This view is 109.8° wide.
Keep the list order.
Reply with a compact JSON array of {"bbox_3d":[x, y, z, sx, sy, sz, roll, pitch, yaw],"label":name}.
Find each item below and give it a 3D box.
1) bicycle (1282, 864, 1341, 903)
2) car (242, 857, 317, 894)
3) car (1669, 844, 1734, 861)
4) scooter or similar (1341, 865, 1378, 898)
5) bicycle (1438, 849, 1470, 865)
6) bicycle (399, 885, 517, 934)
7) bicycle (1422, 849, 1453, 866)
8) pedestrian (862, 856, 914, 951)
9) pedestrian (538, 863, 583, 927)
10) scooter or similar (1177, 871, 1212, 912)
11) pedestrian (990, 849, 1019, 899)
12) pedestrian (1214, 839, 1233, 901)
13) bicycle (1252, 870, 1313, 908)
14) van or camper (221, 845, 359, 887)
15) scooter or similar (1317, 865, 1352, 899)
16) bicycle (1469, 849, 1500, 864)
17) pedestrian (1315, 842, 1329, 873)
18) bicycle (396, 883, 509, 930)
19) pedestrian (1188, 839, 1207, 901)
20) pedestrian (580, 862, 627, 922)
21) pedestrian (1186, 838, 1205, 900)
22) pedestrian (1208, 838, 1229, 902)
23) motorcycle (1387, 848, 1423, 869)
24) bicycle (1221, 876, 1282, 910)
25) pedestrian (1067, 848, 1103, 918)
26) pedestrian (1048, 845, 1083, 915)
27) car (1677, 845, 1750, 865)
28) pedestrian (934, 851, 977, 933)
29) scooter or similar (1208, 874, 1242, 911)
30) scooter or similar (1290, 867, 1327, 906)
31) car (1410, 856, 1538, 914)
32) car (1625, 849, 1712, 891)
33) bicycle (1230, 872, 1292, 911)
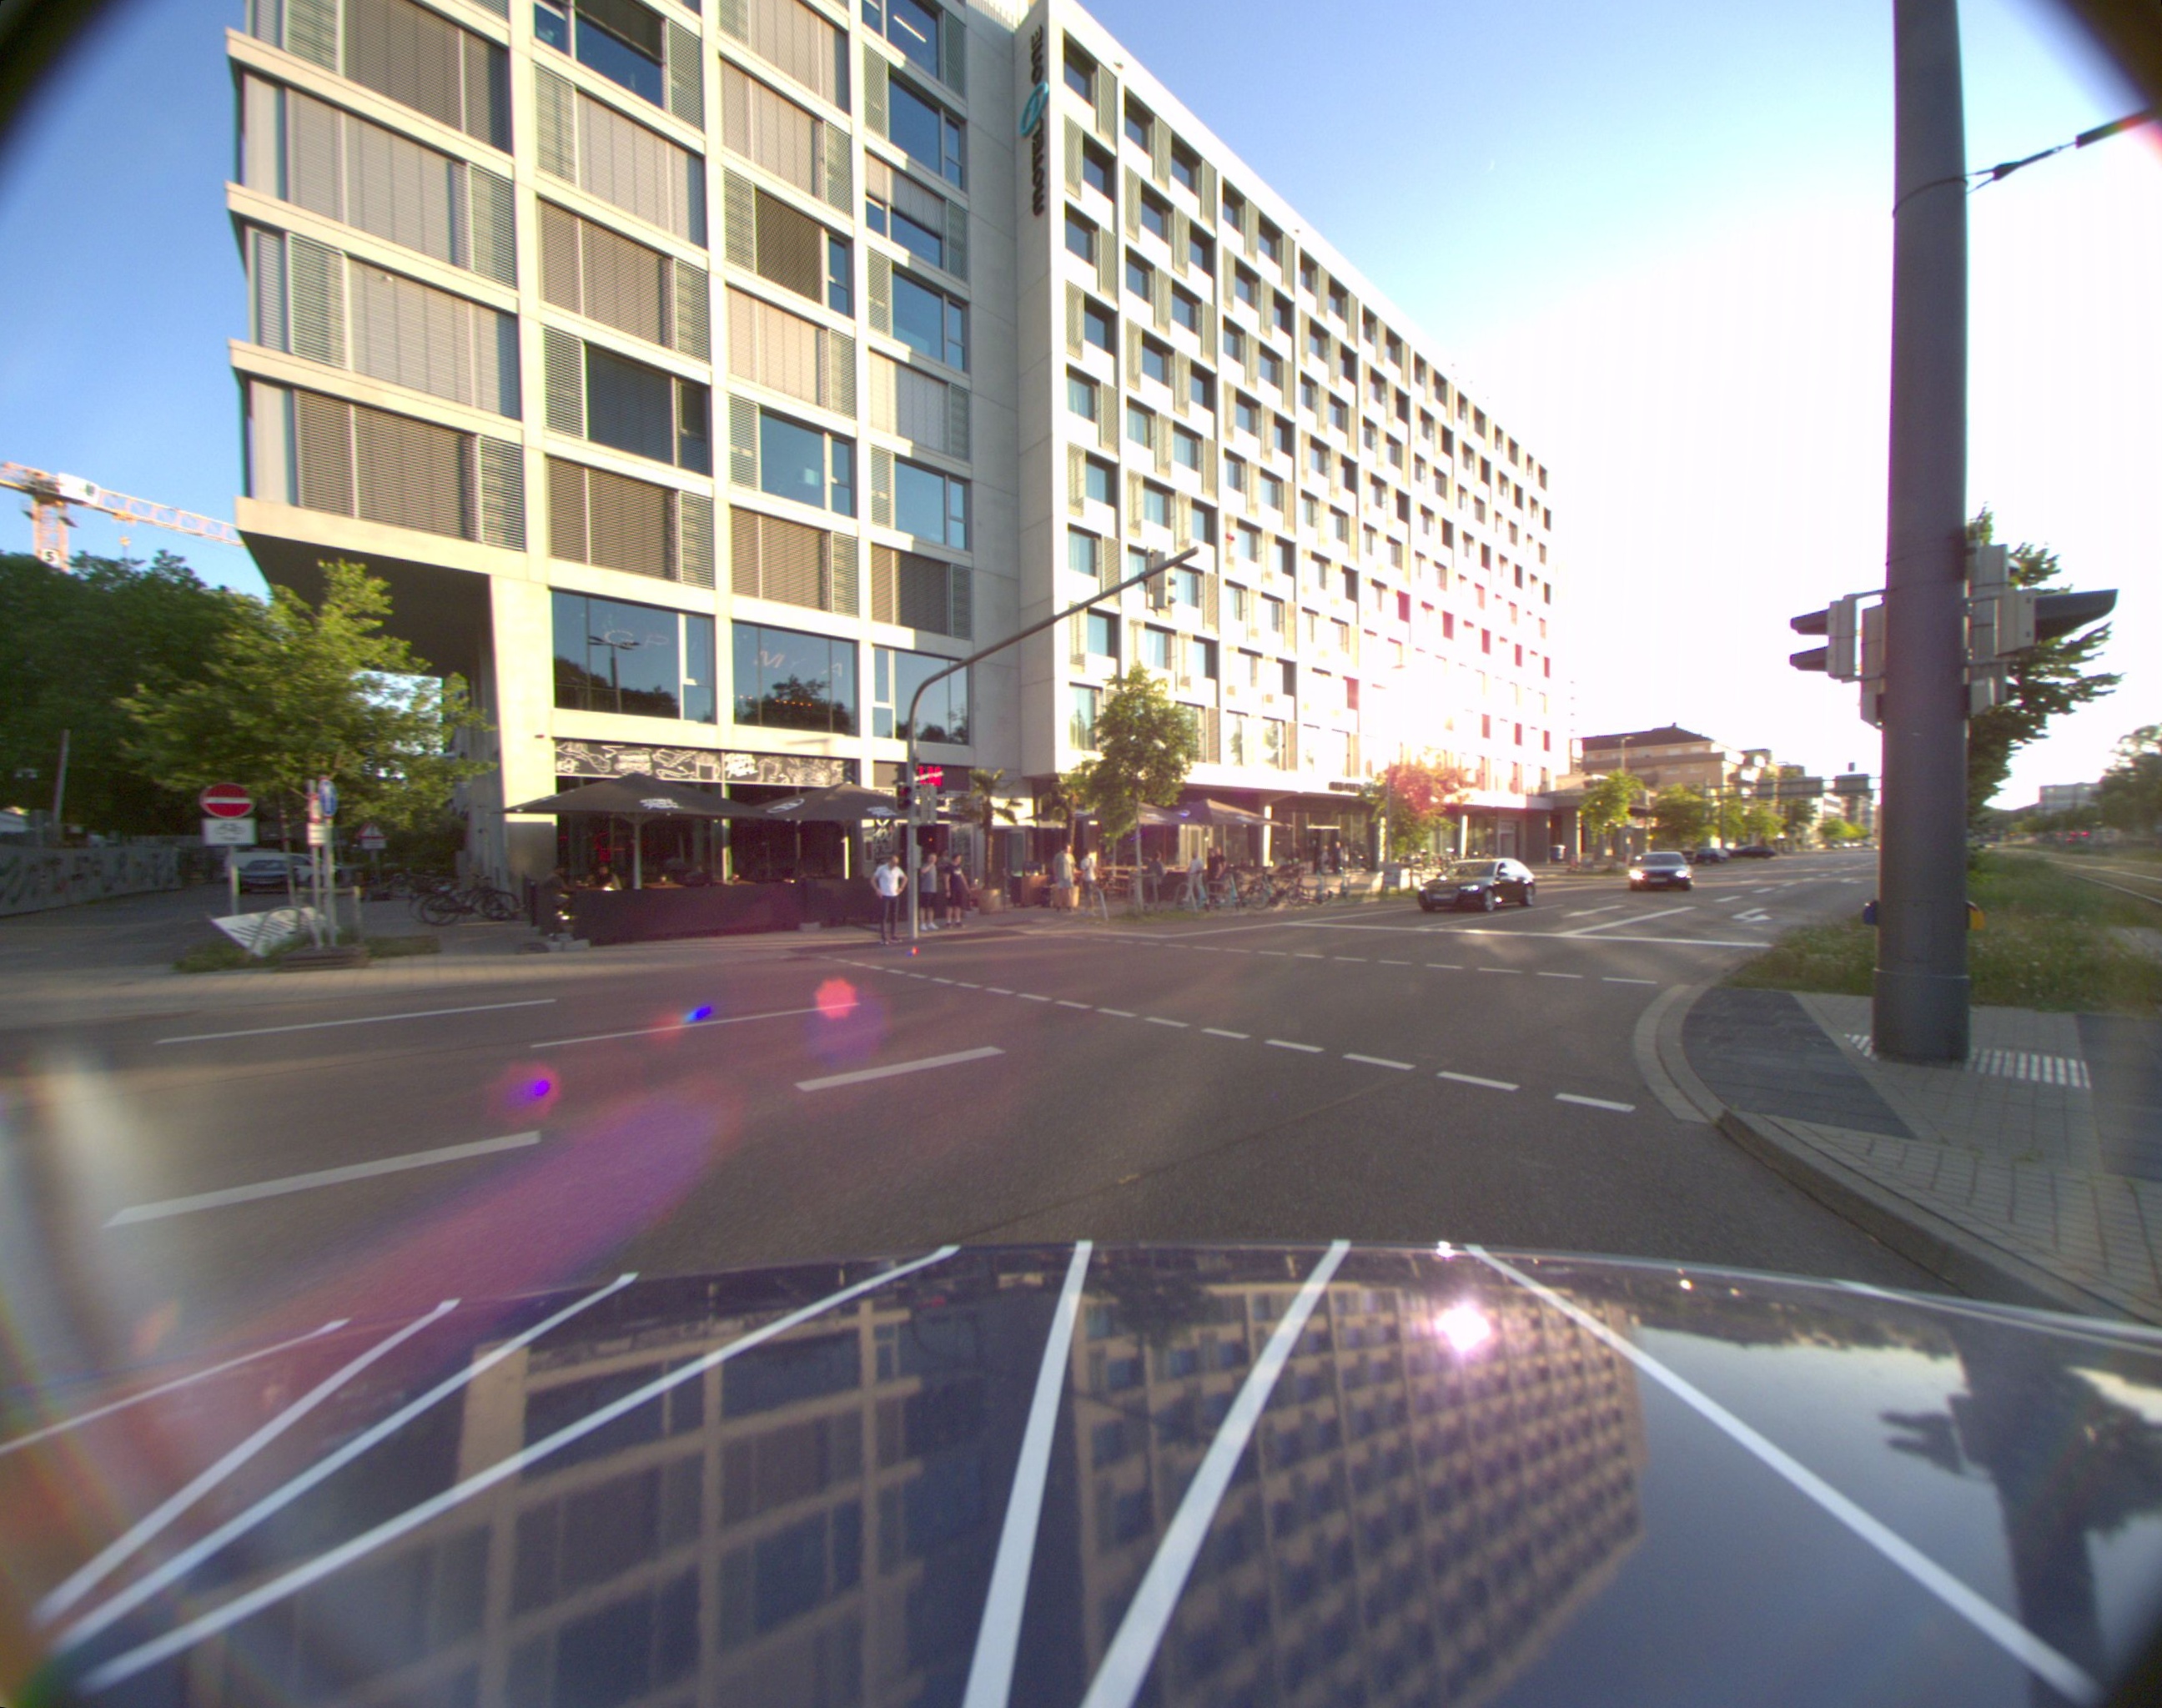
[{"bbox_3d":[7.817,0.979,25.828,0.444,1.193,1.909,-2,3,-44],"label":"bicycle"},{"bbox_3d":[-37.669,0.953,35.799,2.013,1.588,3.695,-1,1,-40],"label":"car"},{"bbox_3d":[55.675,-0.149,68.267,4.124,1.428,1.826,1,3,10],"label":"car"},{"bbox_3d":[9.976,0.969,27.254,0.338,1.052,1.181,-4,7,-40],"label":"scooter or similar"},{"bbox_3d":[24.177,0.202,49.244,0.422,1.014,1.788,-2,2,-45],"label":"bicycle"},{"bbox_3d":[-13.998,1.228,17.121,1.982,0.869,0.393,-4,5,-42],"label":"bicycle"},{"bbox_3d":[22.213,0.222,47.353,0.422,1.014,1.743,-2,2,-45],"label":"bicycle"},{"bbox_3d":[-3.916,0.968,15.390,0.764,1.826,0.706,-2,4,-43],"label":"pedestrian"},{"bbox_3d":[-12.301,0.955,17.950,0.774,1.454,0.604,-2,2,-41],"label":"pedestrian"},{"bbox_3d":[3.274,1.077,21.966,0.339,1.079,0.972,2,2,-41],"label":"scooter or similar"},{"bbox_3d":[-2.532,0.633,25.092,0.710,1.595,0.679,-1,3,-34],"label":"pedestrian"},{"bbox_3d":[4.666,0.505,24.903,0.551,2.002,0.502,-1,1,1],"label":"pedestrian"},{"bbox_3d":[6.447,1.102,24.384,0.444,1.053,1.909,-2,3,-44],"label":"bicycle"},{"bbox_3d":[-46.440,0.660,44.800,4.960,2.111,2.486,-3,3,-27],"label":"van or camper"},{"bbox_3d":[8.952,0.991,26.840,0.338,1.157,1.182,-2,2,-40],"label":"scooter or similar"},{"bbox_3d":[27.405,0.177,51.629,0.422,1.014,1.788,-2,2,-45],"label":"bicycle"},{"bbox_3d":[12.735,0.172,40.194,0.517,1.647,0.428,-2,4,-40],"label":"pedestrian"},{"bbox_3d":[-14.638,1.204,17.751,1.982,0.869,0.393,-4,5,-42],"label":"bicycle"},{"bbox_3d":[3.806,0.503,24.878,0.551,2.002,0.502,-1,1,1],"label":"pedestrian"},{"bbox_3d":[-11.793,0.923,18.780,0.604,1.406,0.774,0,2,33],"label":"pedestrian"},{"bbox_3d":[3.735,0.498,24.822,0.551,2.002,0.502,-1,1,1],"label":"pedestrian"},{"bbox_3d":[4.361,0.499,24.105,0.551,2.002,0.502,-1,1,1],"label":"pedestrian"},{"bbox_3d":[19.209,0.245,45.037,1.892,1.165,0.517,1,2,34],"label":"motorcycle"},{"bbox_3d":[5.162,1.169,23.106,0.444,0.866,1.865,-2,3,-44],"label":"bicycle"},{"bbox_3d":[0.114,0.766,20.611,0.710,1.812,0.615,-1,4,-39],"label":"pedestrian"},{"bbox_3d":[-0.439,0.705,21.412,0.709,1.913,0.679,-1,4,-29],"label":"pedestrian"},{"bbox_3d":[52.849,0.067,63.574,4.279,1.581,2.010,0,1,9],"label":"car"},{"bbox_3d":[-2.940,0.869,17.837,0.682,1.826,0.706,-1,3,-43],"label":"pedestrian"},{"bbox_3d":[4.266,1.140,22.518,0.292,1.028,1.007,0,1,-41],"label":"scooter or similar"},{"bbox_3d":[7.558,1.065,25.223,0.338,1.210,1.182,-2,2,-40],"label":"scooter or similar"},{"bbox_3d":[11.289,0.824,21.697,4.232,1.431,1.886,-1,0,-42],"label":"car"},{"bbox_3d":[22.722,0.573,29.304,4.811,1.432,2.016,-1,0,-45],"label":"car"},{"bbox_3d":[5.543,1.149,23.486,0.444,1.053,1.909,-2,3,-44],"label":"bicycle"}]
